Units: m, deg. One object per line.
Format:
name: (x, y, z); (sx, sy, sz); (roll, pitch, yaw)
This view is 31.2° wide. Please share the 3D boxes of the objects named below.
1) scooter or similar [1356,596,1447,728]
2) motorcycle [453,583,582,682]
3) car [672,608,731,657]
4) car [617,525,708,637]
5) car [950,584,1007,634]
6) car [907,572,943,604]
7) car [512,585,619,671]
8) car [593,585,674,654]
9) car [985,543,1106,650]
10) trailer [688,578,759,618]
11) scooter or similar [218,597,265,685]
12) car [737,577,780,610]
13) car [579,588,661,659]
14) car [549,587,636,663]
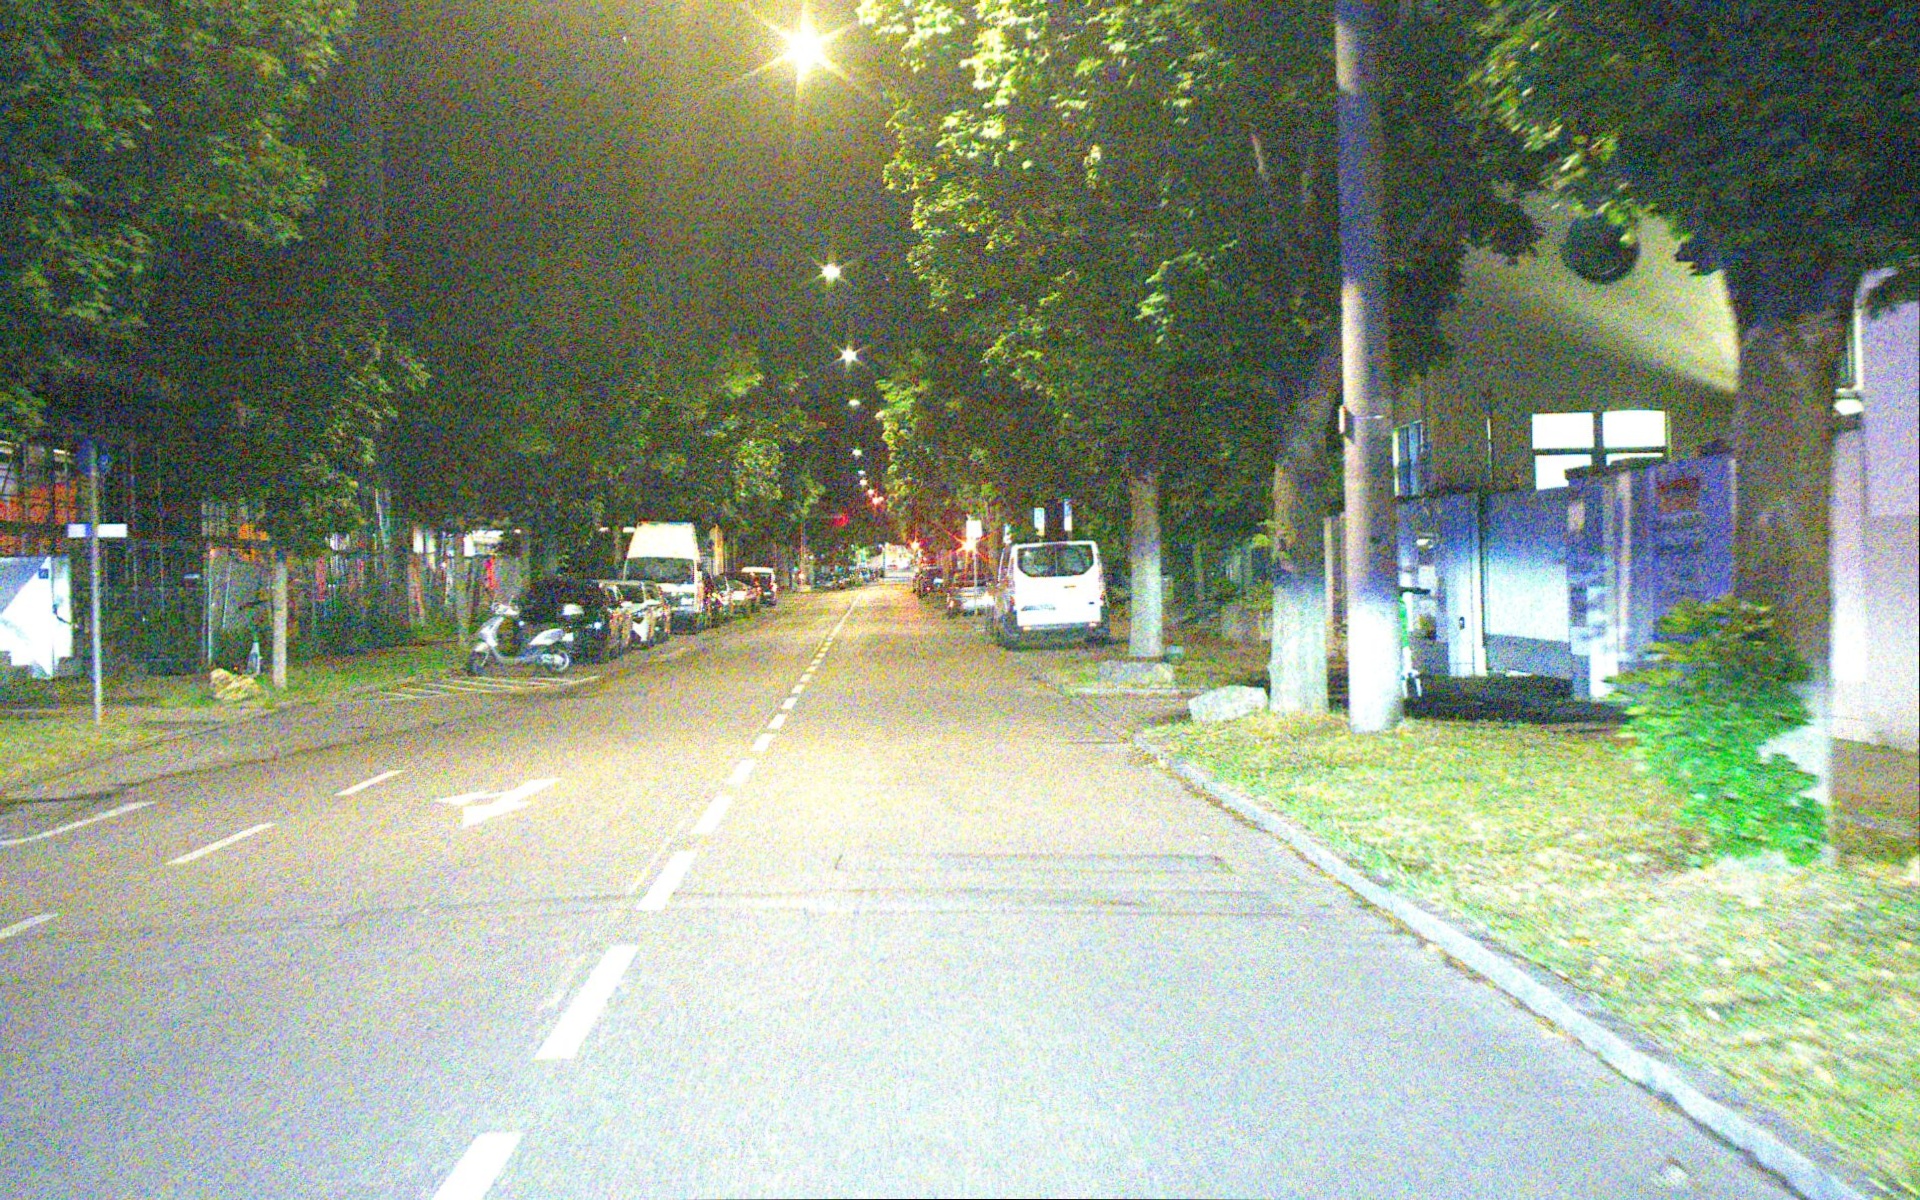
scooter or similar: (4.159, 0.605, 32.472); (0.547, 1.199, 1.910); (-1, -2, -1)
motorcycle: (-6.947, 0.512, 53.953); (1.901, 1.544, 0.639); (1, 0, -20)
car: (-8.470, 1.065, 112.967); (1.716, 1.497, 4.206); (1, 0, -2)
car: (-7.862, -0.512, 91.227); (2.178, 2.899, 4.910); (0, 0, -2)
car: (0.595, 0.257, 107.674); (1.668, 1.424, 4.148); (-3, 0, 1)
car: (-1.823, -0.633, 178.354); (1.853, 1.648, 4.209); (0, 0, -1)
car: (-7.245, 0.485, 63.369); (1.642, 1.499, 3.904); (1, 0, -2)
car: (-7.506, 0.441, 79.297); (1.645, 1.500, 3.861); (1, 0, -3)
car: (1.591, -0.088, 65.433); (1.950, 1.957, 4.604); (-1, 1, -3)
trailer: (-8.283, -0.073, 120.736); (2.110, 1.330, 5.435); (1, 0, 0)
scooter or similar: (-10.108, 0.568, 48.369); (0.367, 1.200, 1.427); (-2, 0, -1)
car: (-9.251, -0.320, 158.044); (1.700, 1.428, 3.828); (2, 1, 0)
car: (-7.353, 0.491, 74.466); (1.547, 1.450, 3.368); (1, 0, -2)
car: (-7.341, 0.475, 68.920); (1.444, 1.425, 3.904); (1, 0, -2)
